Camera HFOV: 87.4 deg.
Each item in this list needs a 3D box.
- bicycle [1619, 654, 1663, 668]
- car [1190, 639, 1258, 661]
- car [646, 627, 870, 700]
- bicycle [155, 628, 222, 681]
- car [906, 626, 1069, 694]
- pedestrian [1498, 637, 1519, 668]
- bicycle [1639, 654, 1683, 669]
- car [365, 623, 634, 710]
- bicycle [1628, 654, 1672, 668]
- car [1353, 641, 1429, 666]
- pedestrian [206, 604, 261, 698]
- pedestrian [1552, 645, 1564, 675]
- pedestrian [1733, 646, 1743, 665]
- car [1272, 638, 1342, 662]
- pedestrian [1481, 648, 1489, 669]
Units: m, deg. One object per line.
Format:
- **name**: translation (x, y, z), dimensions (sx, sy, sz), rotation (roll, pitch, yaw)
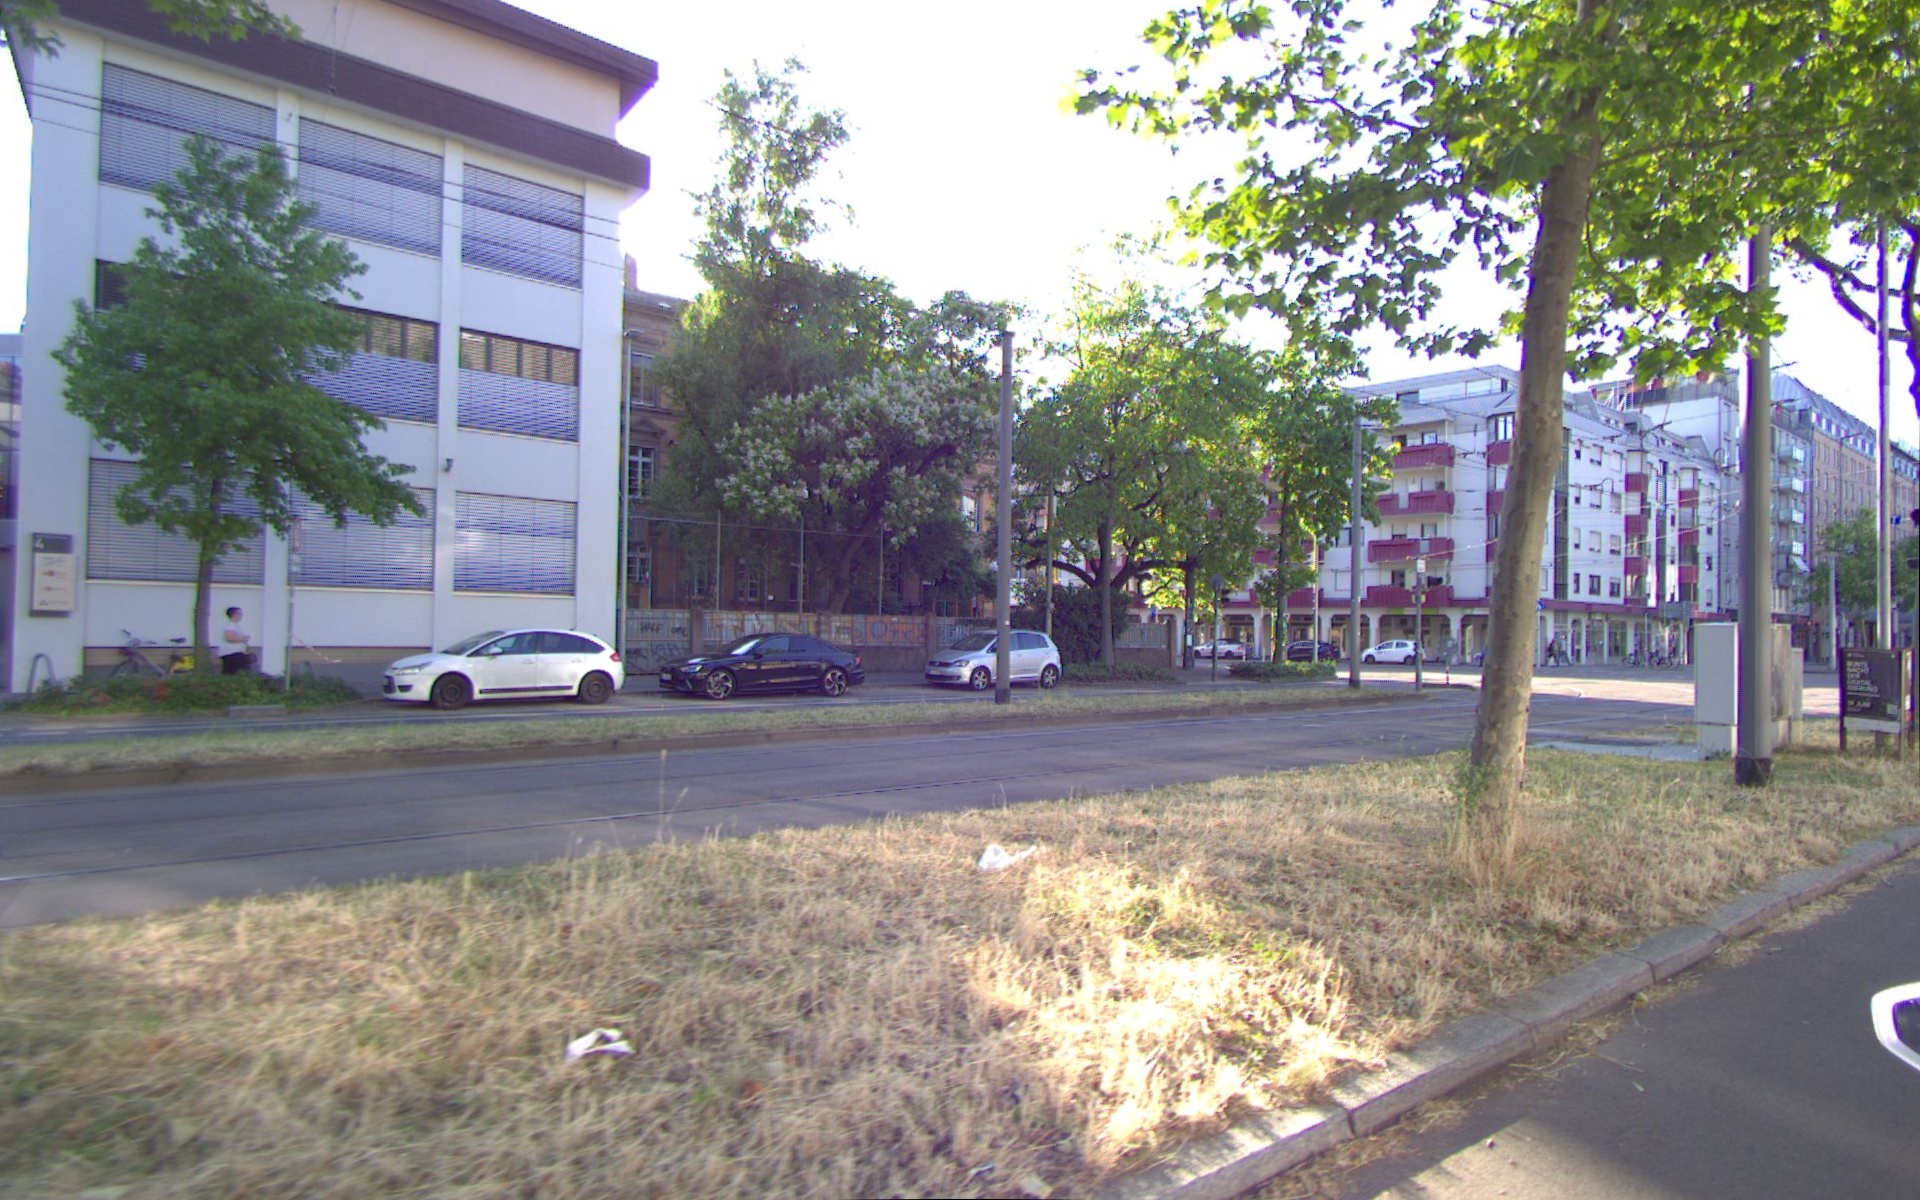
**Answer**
- **bicycle**: translation (41.126, 3.695, 60.678), dimensions (0.635, 0.797, 2.152), rotation (2, -2, -39)
- **car**: translation (18.242, 3.443, 69.568), dimensions (4.212, 1.483, 1.791), rotation (-2, -3, 44)
- **car**: translation (-4.509, 1.385, 22.788), dimensions (4.611, 1.495, 1.977), rotation (2, -2, -40)
- **bicycle**: translation (-15.128, 1.065, 19.697), dimensions (1.010, 1.015, 0.300), rotation (2, -2, -39)
- **car**: translation (0.795, 1.589, 27.296), dimensions (4.143, 1.711, 1.977), rotation (2, -2, -39)
- **pedestrian**: translation (30.675, 2.933, 56.148), dimensions (1.026, 1.684, 0.702), rotation (2, -3, -42)
- **bicycle**: translation (43.018, 3.762, 61.642), dimensions (0.523, 0.835, 2.152), rotation (2, -2, -39)
- **car**: translation (-8.812, 1.232, 19.392), dimensions (4.369, 1.490, 1.977), rotation (2, -2, -40)
- **bicycle**: translation (41.872, 3.716, 60.934), dimensions (0.488, 0.797, 2.152), rotation (2, -2, -39)
- **car**: translation (26.420, 3.256, 61.587), dimensions (3.943, 1.483, 1.792), rotation (-2, -3, 42)
- **pedestrian**: translation (-12.966, 0.898, 17.926), dimensions (0.725, 1.642, 0.630), rotation (2, -1, -39)
- **pedestrian**: translation (35.431, 3.549, 59.530), dimensions (0.505, 1.721, 0.525), rotation (-1, -2, 44)
- **pedestrian**: translation (61.174, 4.375, 78.989), dimensions (0.523, 1.478, 0.506), rotation (2, -2, -38)
- **car**: translation (22.486, 3.241, 65.186), dimensions (3.942, 1.483, 1.793), rotation (-2, -3, 42)
- **pedestrian**: translation (30.695, 3.411, 58.737), dimensions (0.316, 1.230, 0.301), rotation (2, -3, -42)
